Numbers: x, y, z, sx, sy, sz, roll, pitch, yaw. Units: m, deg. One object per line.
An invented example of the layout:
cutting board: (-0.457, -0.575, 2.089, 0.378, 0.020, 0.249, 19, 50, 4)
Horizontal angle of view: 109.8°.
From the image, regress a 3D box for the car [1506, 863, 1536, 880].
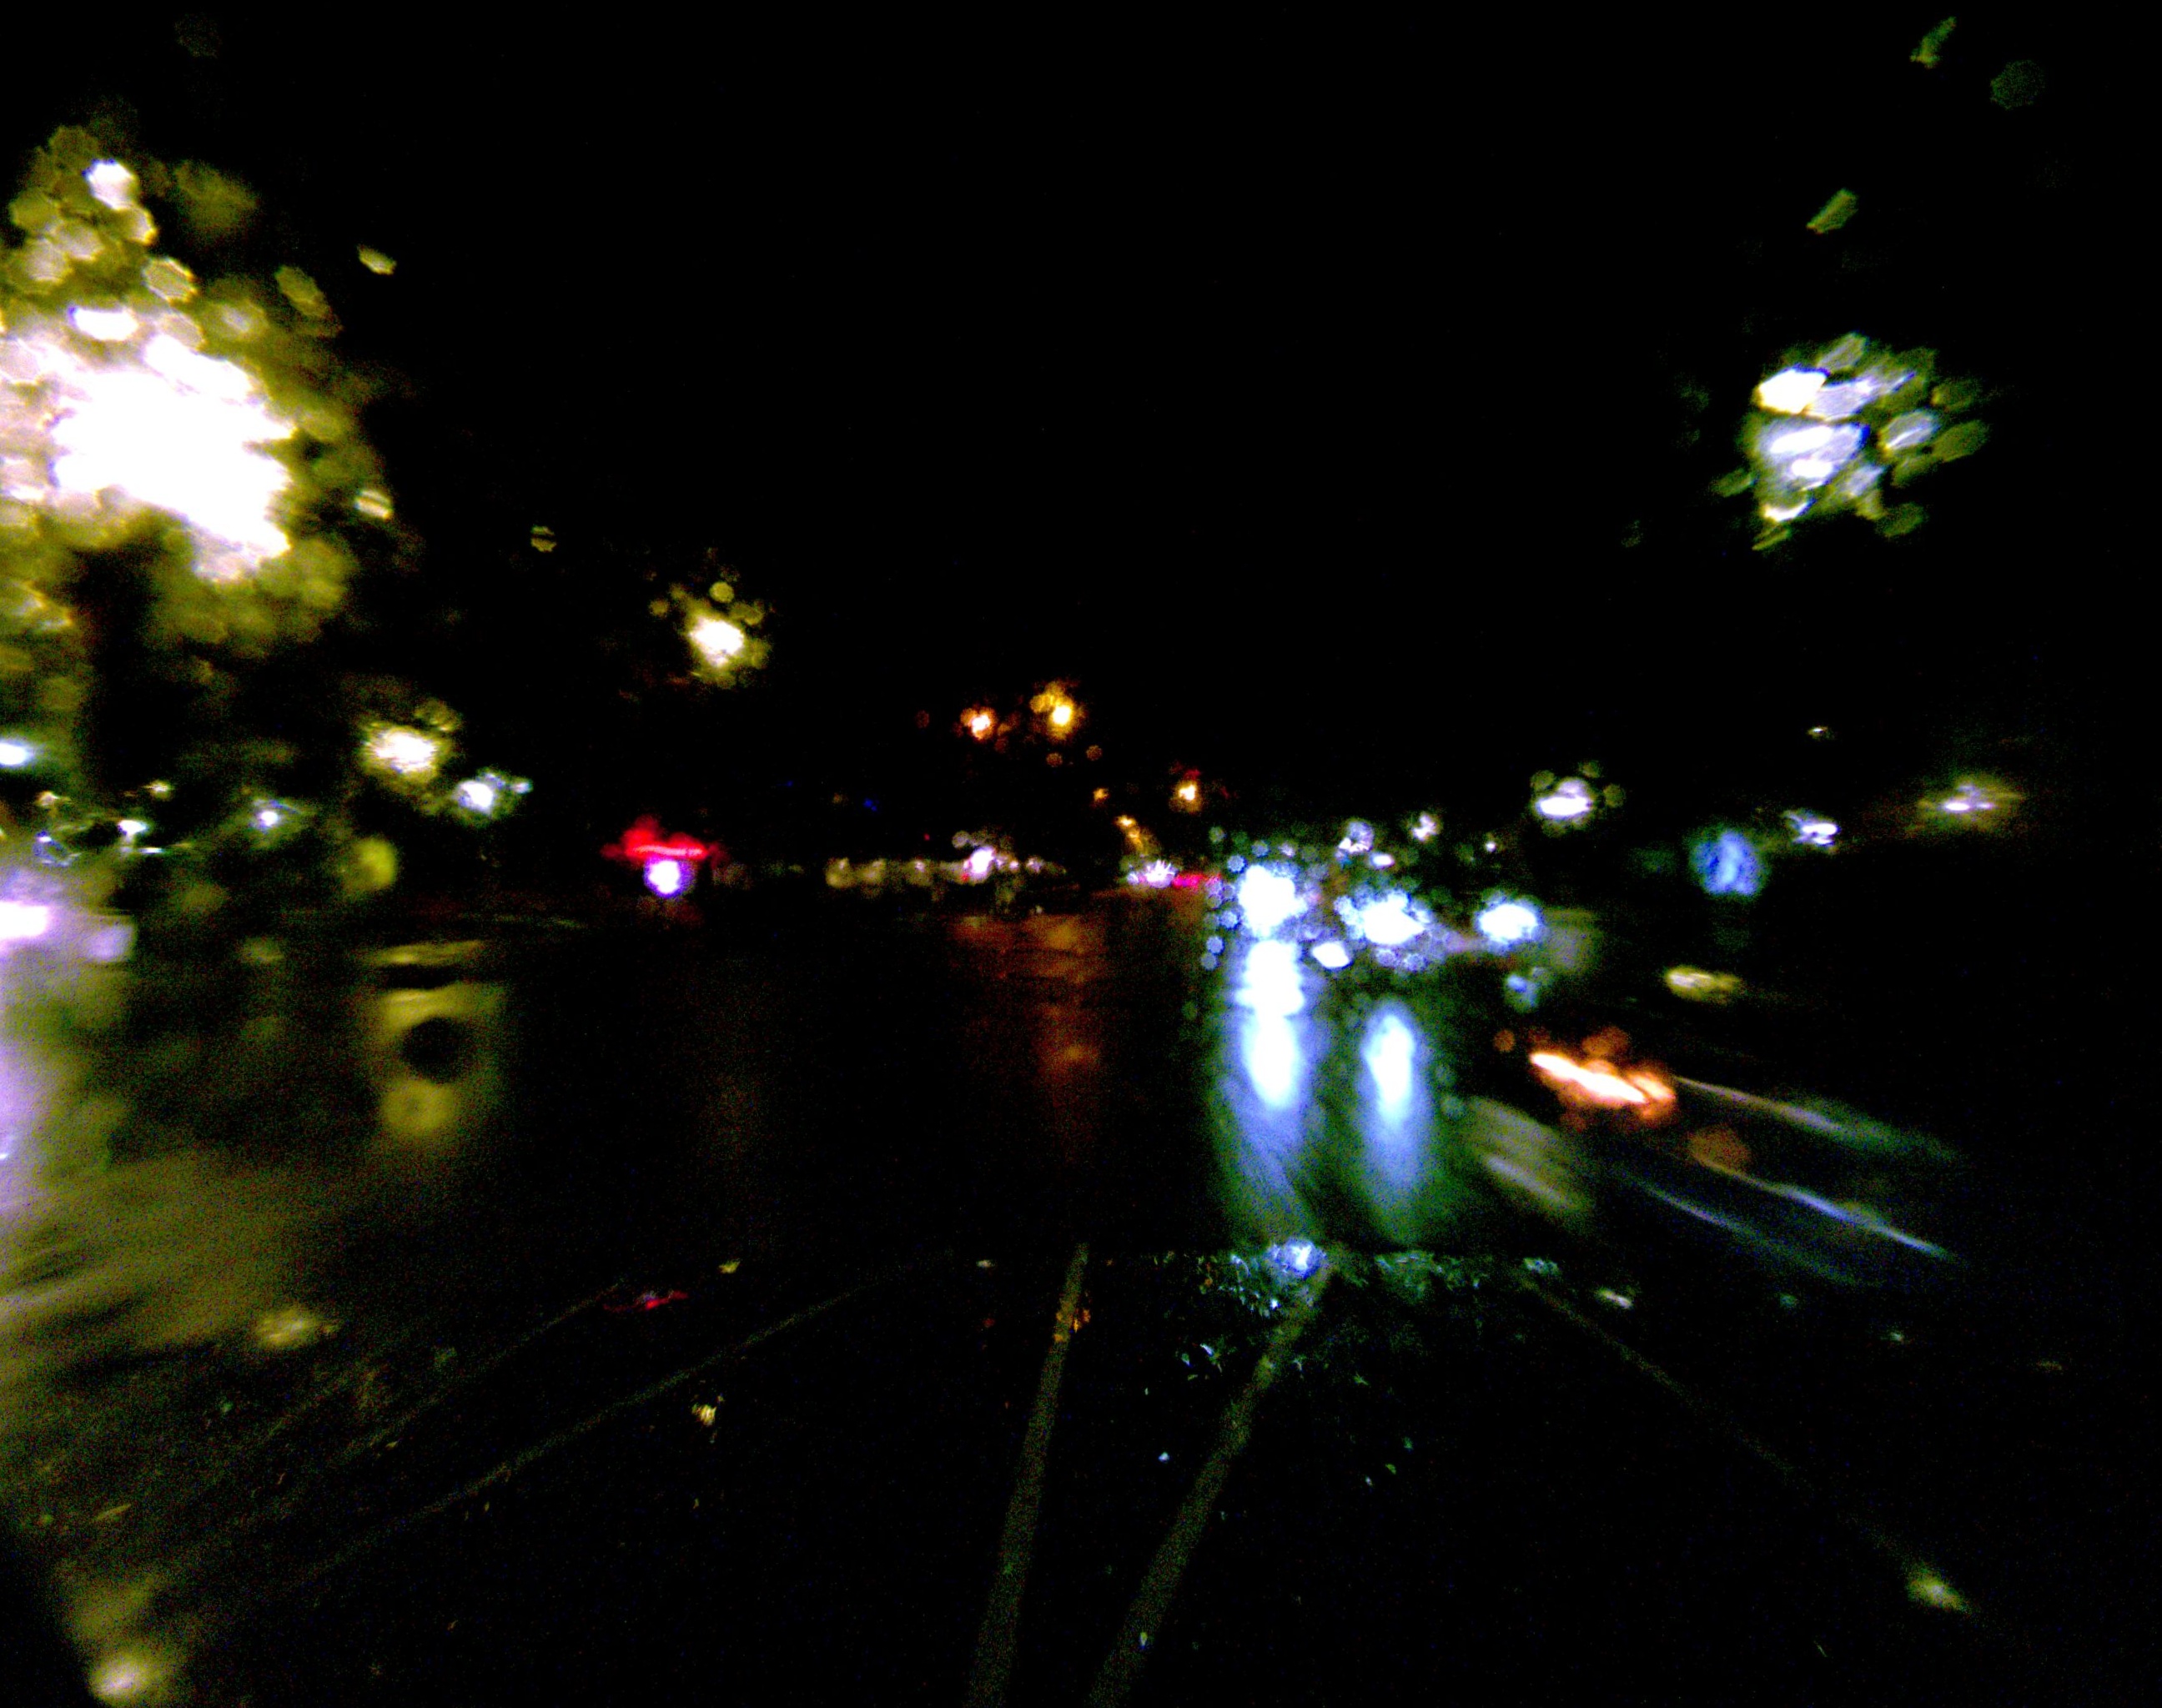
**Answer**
car: (39.725, 1.535, 68.655, 1.866, 1.434, 4.502, -2, -1, 24)

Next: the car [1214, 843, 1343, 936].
car: (4.618, 0.855, 18.608, 2.038, 1.941, 5.203, -1, -2, 3)

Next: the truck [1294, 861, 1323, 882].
truck: (22.606, 1.765, 75.287, 2.125, 2.001, 5.272, -2, -2, 24)

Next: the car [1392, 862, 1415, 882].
car: (30.536, 1.699, 71.838, 1.866, 1.784, 4.502, -2, -1, 24)

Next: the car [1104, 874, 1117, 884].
car: (4.695, 3.849, 119.113, 1.826, 1.521, 4.786, 0, -1, 5)

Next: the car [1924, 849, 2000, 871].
car: (64.043, 0.457, 55.353, 1.866, 1.434, 4.502, -2, -1, 24)

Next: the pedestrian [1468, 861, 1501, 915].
pedestrian: (13.383, 1.113, 25.204, 0.769, 1.725, 0.972, -2, -1, 39)

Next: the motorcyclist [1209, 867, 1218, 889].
motorcyclist: (11.827, 2.154, 67.925, 0.694, 2.001, 0.983, -1, -1, 5)

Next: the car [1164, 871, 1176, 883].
car: (12.294, 3.192, 104.764, 1.601, 1.554, 4.382, 2, -1, 6)

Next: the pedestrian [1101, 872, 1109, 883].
pedestrian: (3.723, 3.573, 115.990, 1.051, 1.565, 1.019, -2, -1, 11)

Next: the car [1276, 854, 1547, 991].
car: (4.369, 0.823, 11.016, 1.822, 1.533, 4.727, -1, -1, 0)

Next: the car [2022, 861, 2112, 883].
car: (68.182, 1.213, 52.654, 1.866, 1.434, 4.502, -2, -1, 24)

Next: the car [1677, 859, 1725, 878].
car: (50.898, 1.171, 62.462, 1.866, 1.434, 4.502, -2, -1, 24)

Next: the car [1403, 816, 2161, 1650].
car: (2.760, 0.692, 1.889, 1.712, 1.533, 3.986, -1, -1, -10)

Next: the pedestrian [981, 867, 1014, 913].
pedestrian: (-3.336, 1.437, 30.349, 1.109, 1.814, 0.852, -1, -1, 8)

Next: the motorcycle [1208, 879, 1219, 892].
motorcycle: (11.824, 2.815, 67.832, 0.702, 1.131, 2.177, -1, -2, 5)

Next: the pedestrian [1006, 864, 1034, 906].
pedestrian: (-2.703, 1.388, 33.799, 1.109, 1.814, 0.851, -1, -1, 6)

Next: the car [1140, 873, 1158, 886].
car: (8.496, 3.228, 95.379, 1.857, 1.490, 4.771, -1, -2, -1)

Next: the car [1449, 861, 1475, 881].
car: (34.955, 1.547, 69.807, 1.866, 1.749, 4.502, -2, -1, 24)

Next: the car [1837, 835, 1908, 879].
car: (51.648, 0.228, 49.683, 1.715, 2.714, 4.363, -2, -1, 25)
